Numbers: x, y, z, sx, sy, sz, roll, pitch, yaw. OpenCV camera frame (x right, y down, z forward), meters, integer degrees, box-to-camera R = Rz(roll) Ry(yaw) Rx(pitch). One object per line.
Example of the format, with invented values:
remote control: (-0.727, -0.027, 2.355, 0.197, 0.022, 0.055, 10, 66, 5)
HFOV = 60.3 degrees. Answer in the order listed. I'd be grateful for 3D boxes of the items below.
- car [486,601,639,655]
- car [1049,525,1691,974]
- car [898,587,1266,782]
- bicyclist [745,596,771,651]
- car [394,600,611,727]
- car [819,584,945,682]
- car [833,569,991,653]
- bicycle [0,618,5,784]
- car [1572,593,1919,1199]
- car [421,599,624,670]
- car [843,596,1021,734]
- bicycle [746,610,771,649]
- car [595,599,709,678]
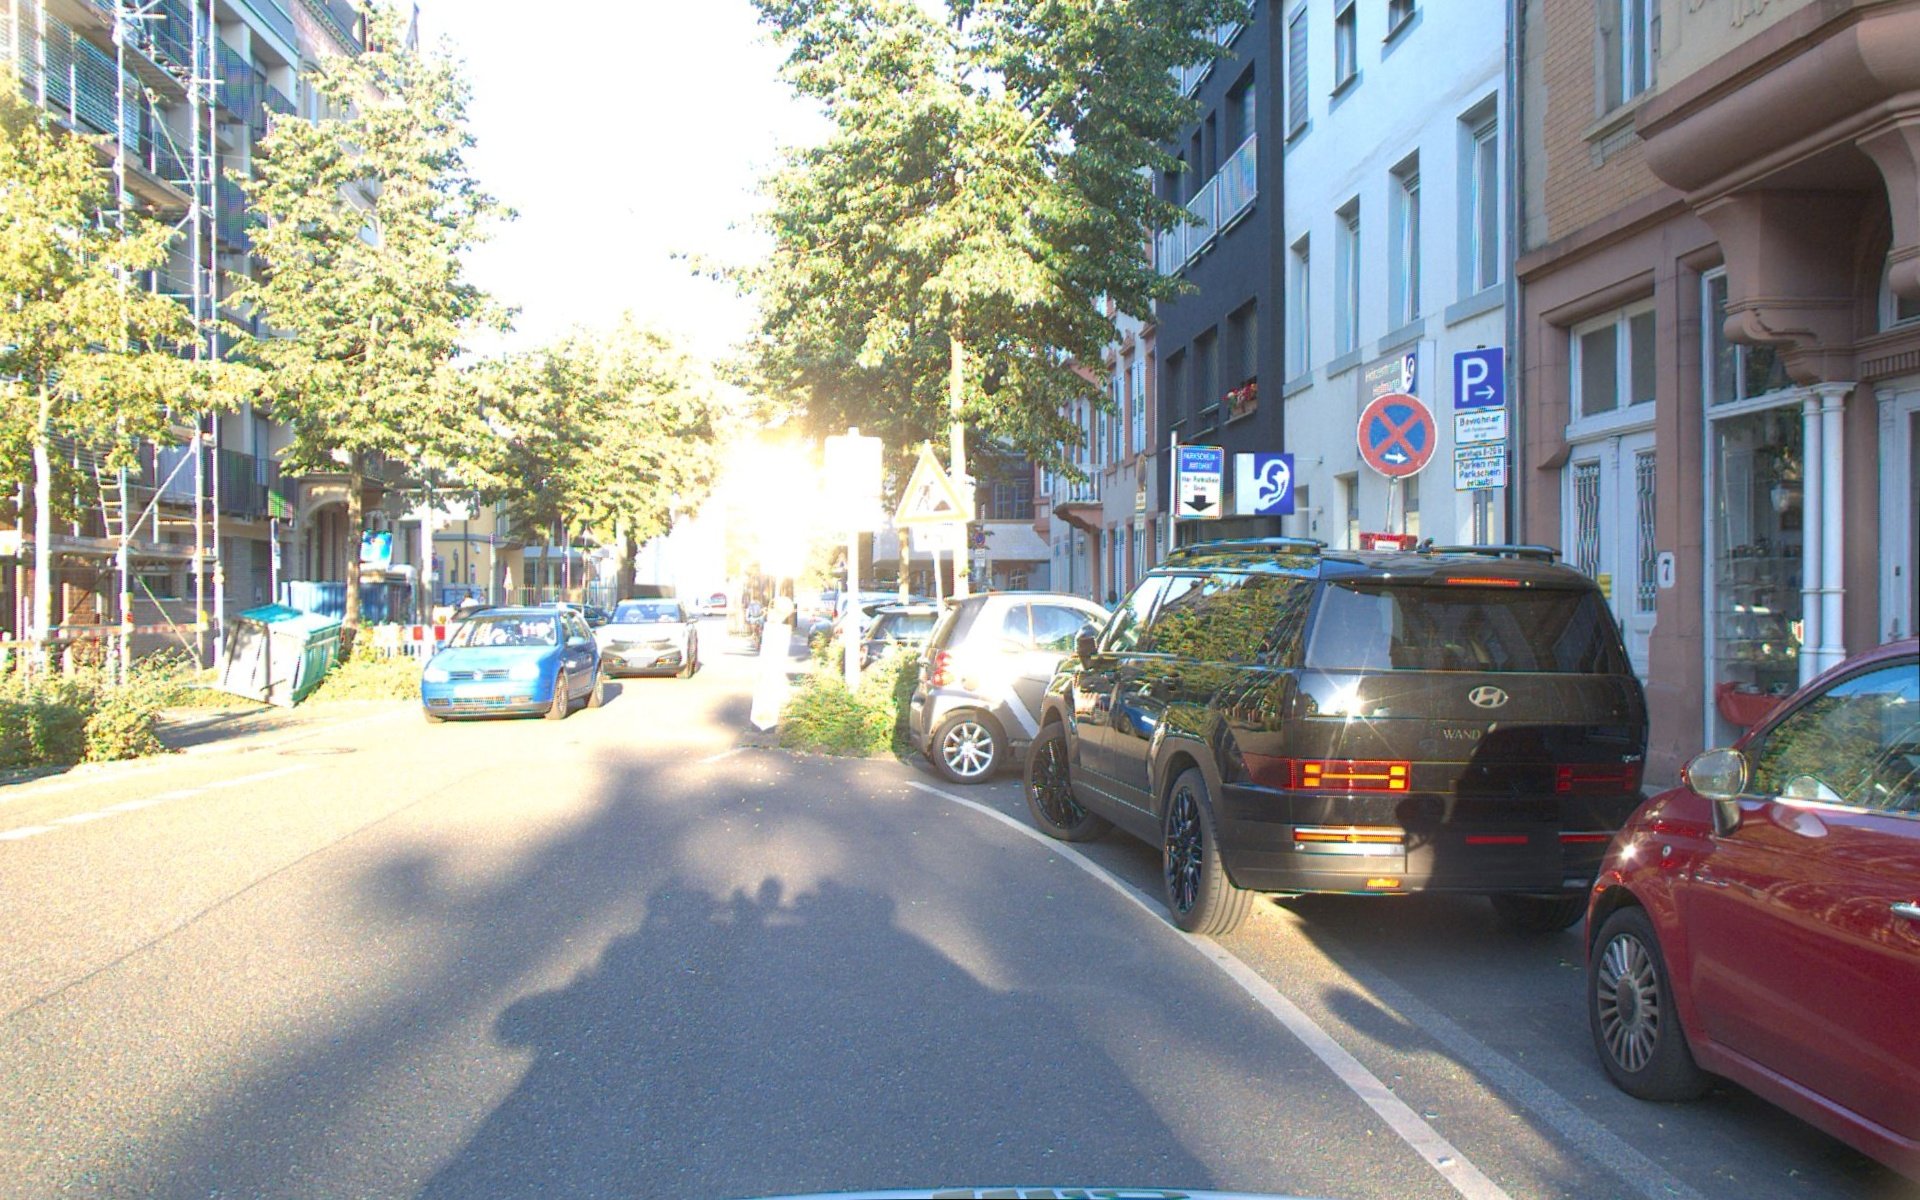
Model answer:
car: (-11.562, 0.811, 48.280, 4.021, 1.491, 1.888, 1, -1, -3)
car: (1.756, 0.601, 8.660, 1.790, 1.725, 4.361, 1, 0, -7)
car: (0.999, 0.709, 14.248, 2.913, 1.563, 1.430, 1, -1, -9)
bicyclist: (-6.469, 0.740, 53.016, 0.766, 1.726, 1.006, -1, 0, -7)
car: (-5.829, 0.760, 21.612, 1.801, 1.466, 4.329, -1, 0, -3)
car: (-1.785, 0.684, 36.084, 2.223, 1.796, 4.501, 6, -1, -8)
car: (-1.183, 0.264, 42.000, 3.905, 2.049, 2.000, 0, 0, -1)
bicycle: (-8.022, 0.833, 12.152, 0.830, 1.374, 3.176, 0, 0, -13)
car: (2.916, 0.753, 3.974, 1.555, 1.509, 3.264, 1, 0, -3)
car: (-9.659, 0.757, 36.734, 4.021, 1.491, 1.888, 1, -1, -3)
car: (-0.496, 0.825, 22.888, 1.956, 1.697, 4.502, 1, 0, -8)
bicycle: (-6.463, 0.927, 53.067, 0.766, 1.225, 2.018, -1, 0, -7)
car: (-6.331, 0.769, 34.428, 1.847, 1.506, 4.454, 1, 0, -5)
